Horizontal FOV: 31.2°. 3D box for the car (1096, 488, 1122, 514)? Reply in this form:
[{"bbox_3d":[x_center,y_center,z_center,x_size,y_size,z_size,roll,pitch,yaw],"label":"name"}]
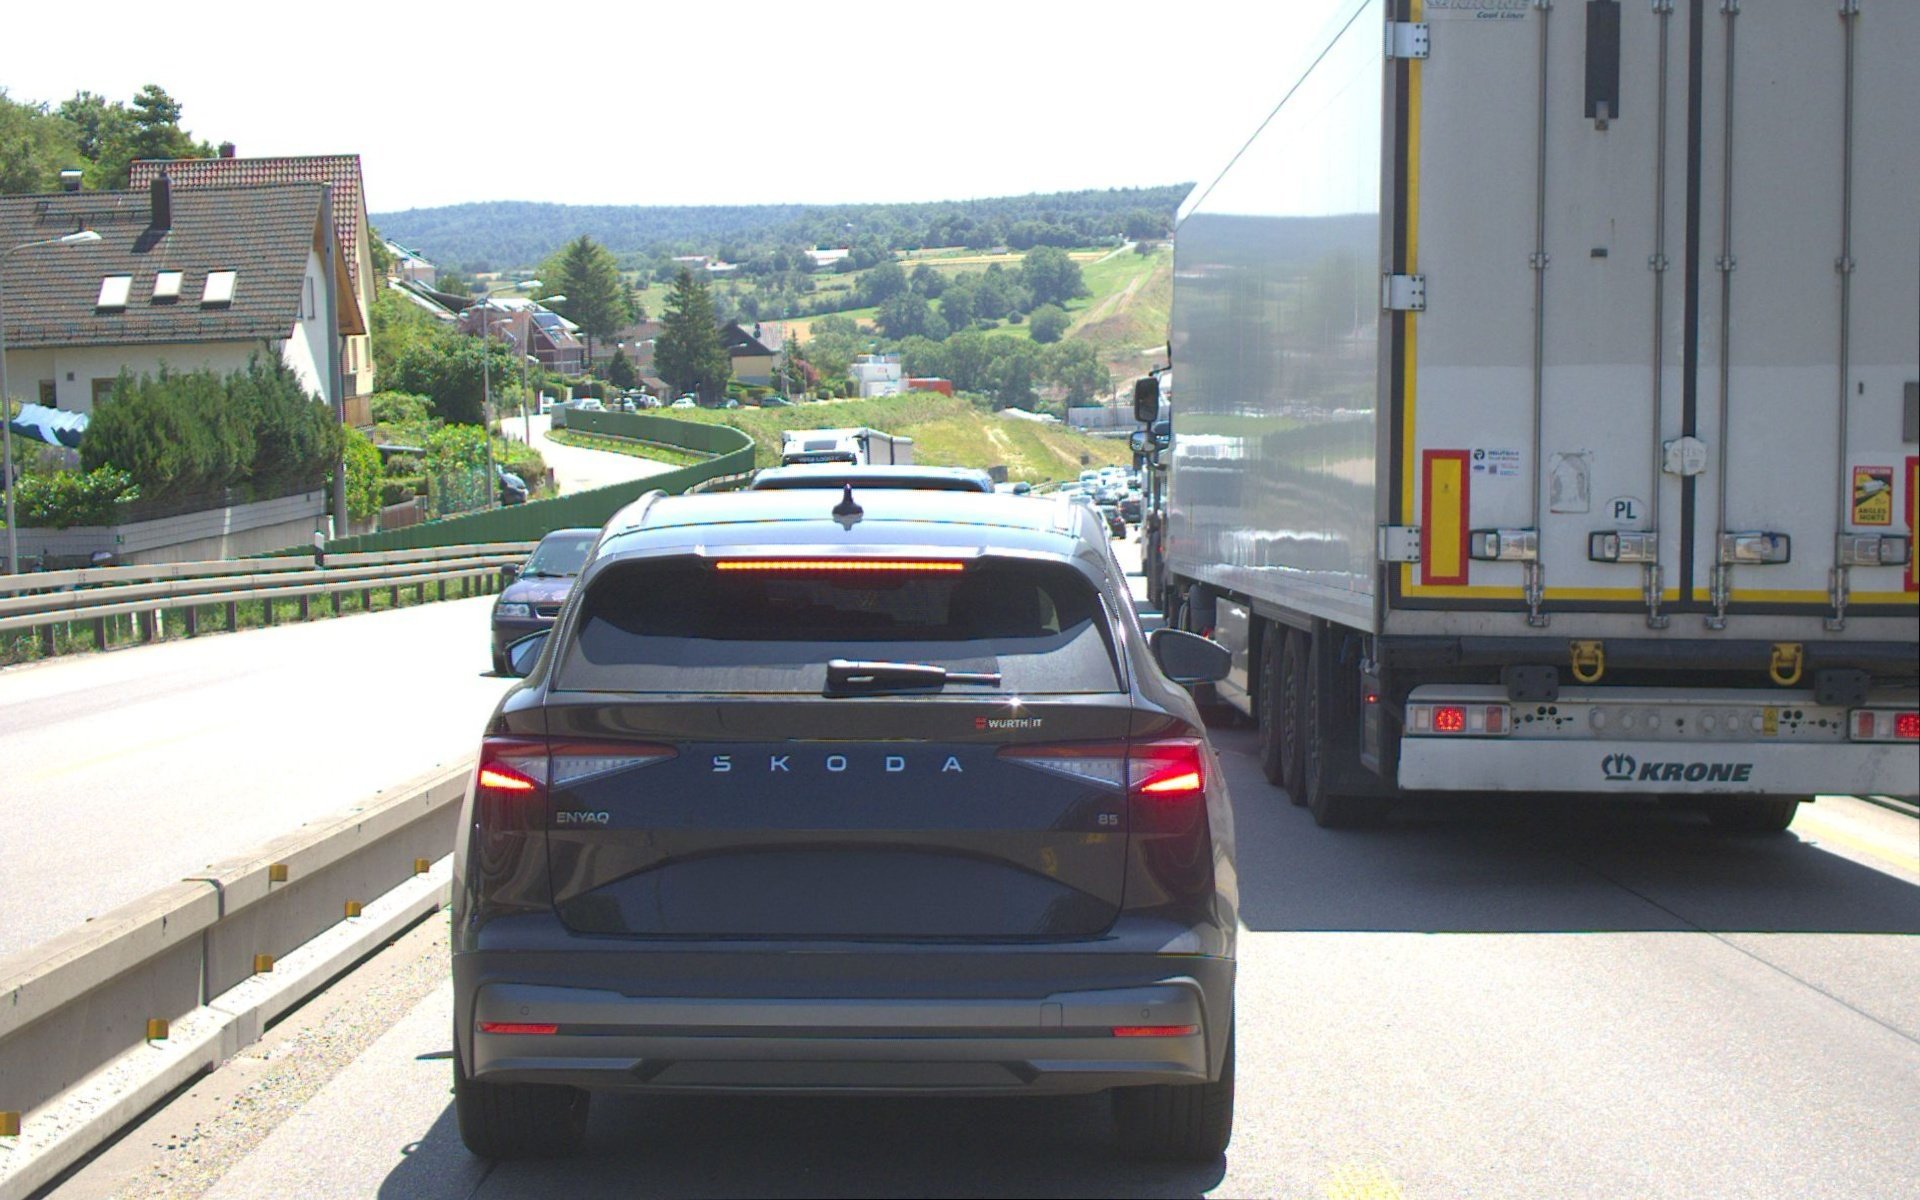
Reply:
[{"bbox_3d":[10.403,-6.894,240.149,1.701,1.722,3.836,1,1,4],"label":"car"}]

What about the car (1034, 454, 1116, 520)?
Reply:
[{"bbox_3d":[2.946,-2.889,88.537,1.993,1.579,3.836,1,1,1],"label":"car"}]

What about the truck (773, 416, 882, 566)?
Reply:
[{"bbox_3d":[-3.874,-3.212,101.409,2.752,4.268,4.957,1,2,3],"label":"truck"}]

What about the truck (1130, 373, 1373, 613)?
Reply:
[{"bbox_3d":[4.227,-1.493,52.117,3.195,3.180,12.808,0,1,3],"label":"truck"}]

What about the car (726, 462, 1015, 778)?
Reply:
[{"bbox_3d":[-0.673,0.049,22.647,1.706,1.875,4.001,1,2,-4],"label":"car"}]

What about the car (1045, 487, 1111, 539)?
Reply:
[{"bbox_3d":[3.746,-2.770,110.081,1.993,1.579,3.836,1,1,1],"label":"car"}]

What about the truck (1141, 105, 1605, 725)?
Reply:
[{"bbox_3d":[2.913,-1.247,26.547,2.513,4.011,8.238,1,1,0],"label":"truck"}]

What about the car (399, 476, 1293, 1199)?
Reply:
[{"bbox_3d":[-0.369,0.524,9.104,1.842,1.581,3.908,1,1,-4],"label":"car"}]

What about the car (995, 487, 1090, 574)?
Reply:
[{"bbox_3d":[1.604,-1.401,67.902,1.707,1.616,4.001,1,2,-1],"label":"car"}]

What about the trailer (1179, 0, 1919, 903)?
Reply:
[{"bbox_3d":[2.956,-0.883,19.886,2.532,4.113,11.548,1,1,0],"label":"trailer"}]

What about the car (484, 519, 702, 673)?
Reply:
[{"bbox_3d":[-3.609,-0.086,34.427,1.718,1.403,4.000,-1,2,0],"label":"car"}]

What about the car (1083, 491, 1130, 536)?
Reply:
[{"bbox_3d":[5.819,-3.405,136.076,1.701,1.722,3.836,1,1,4],"label":"car"}]

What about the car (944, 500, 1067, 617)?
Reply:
[{"bbox_3d":[0.636,-0.651,50.952,1.707,1.616,4.001,1,2,-1],"label":"car"}]

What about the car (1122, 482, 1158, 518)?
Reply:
[{"bbox_3d":[9.083,-5.029,173.222,1.701,1.722,3.836,1,1,4],"label":"car"}]

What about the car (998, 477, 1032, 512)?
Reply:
[{"bbox_3d":[2.802,-5.408,176.571,1.701,1.722,3.836,1,1,1],"label":"car"}]
